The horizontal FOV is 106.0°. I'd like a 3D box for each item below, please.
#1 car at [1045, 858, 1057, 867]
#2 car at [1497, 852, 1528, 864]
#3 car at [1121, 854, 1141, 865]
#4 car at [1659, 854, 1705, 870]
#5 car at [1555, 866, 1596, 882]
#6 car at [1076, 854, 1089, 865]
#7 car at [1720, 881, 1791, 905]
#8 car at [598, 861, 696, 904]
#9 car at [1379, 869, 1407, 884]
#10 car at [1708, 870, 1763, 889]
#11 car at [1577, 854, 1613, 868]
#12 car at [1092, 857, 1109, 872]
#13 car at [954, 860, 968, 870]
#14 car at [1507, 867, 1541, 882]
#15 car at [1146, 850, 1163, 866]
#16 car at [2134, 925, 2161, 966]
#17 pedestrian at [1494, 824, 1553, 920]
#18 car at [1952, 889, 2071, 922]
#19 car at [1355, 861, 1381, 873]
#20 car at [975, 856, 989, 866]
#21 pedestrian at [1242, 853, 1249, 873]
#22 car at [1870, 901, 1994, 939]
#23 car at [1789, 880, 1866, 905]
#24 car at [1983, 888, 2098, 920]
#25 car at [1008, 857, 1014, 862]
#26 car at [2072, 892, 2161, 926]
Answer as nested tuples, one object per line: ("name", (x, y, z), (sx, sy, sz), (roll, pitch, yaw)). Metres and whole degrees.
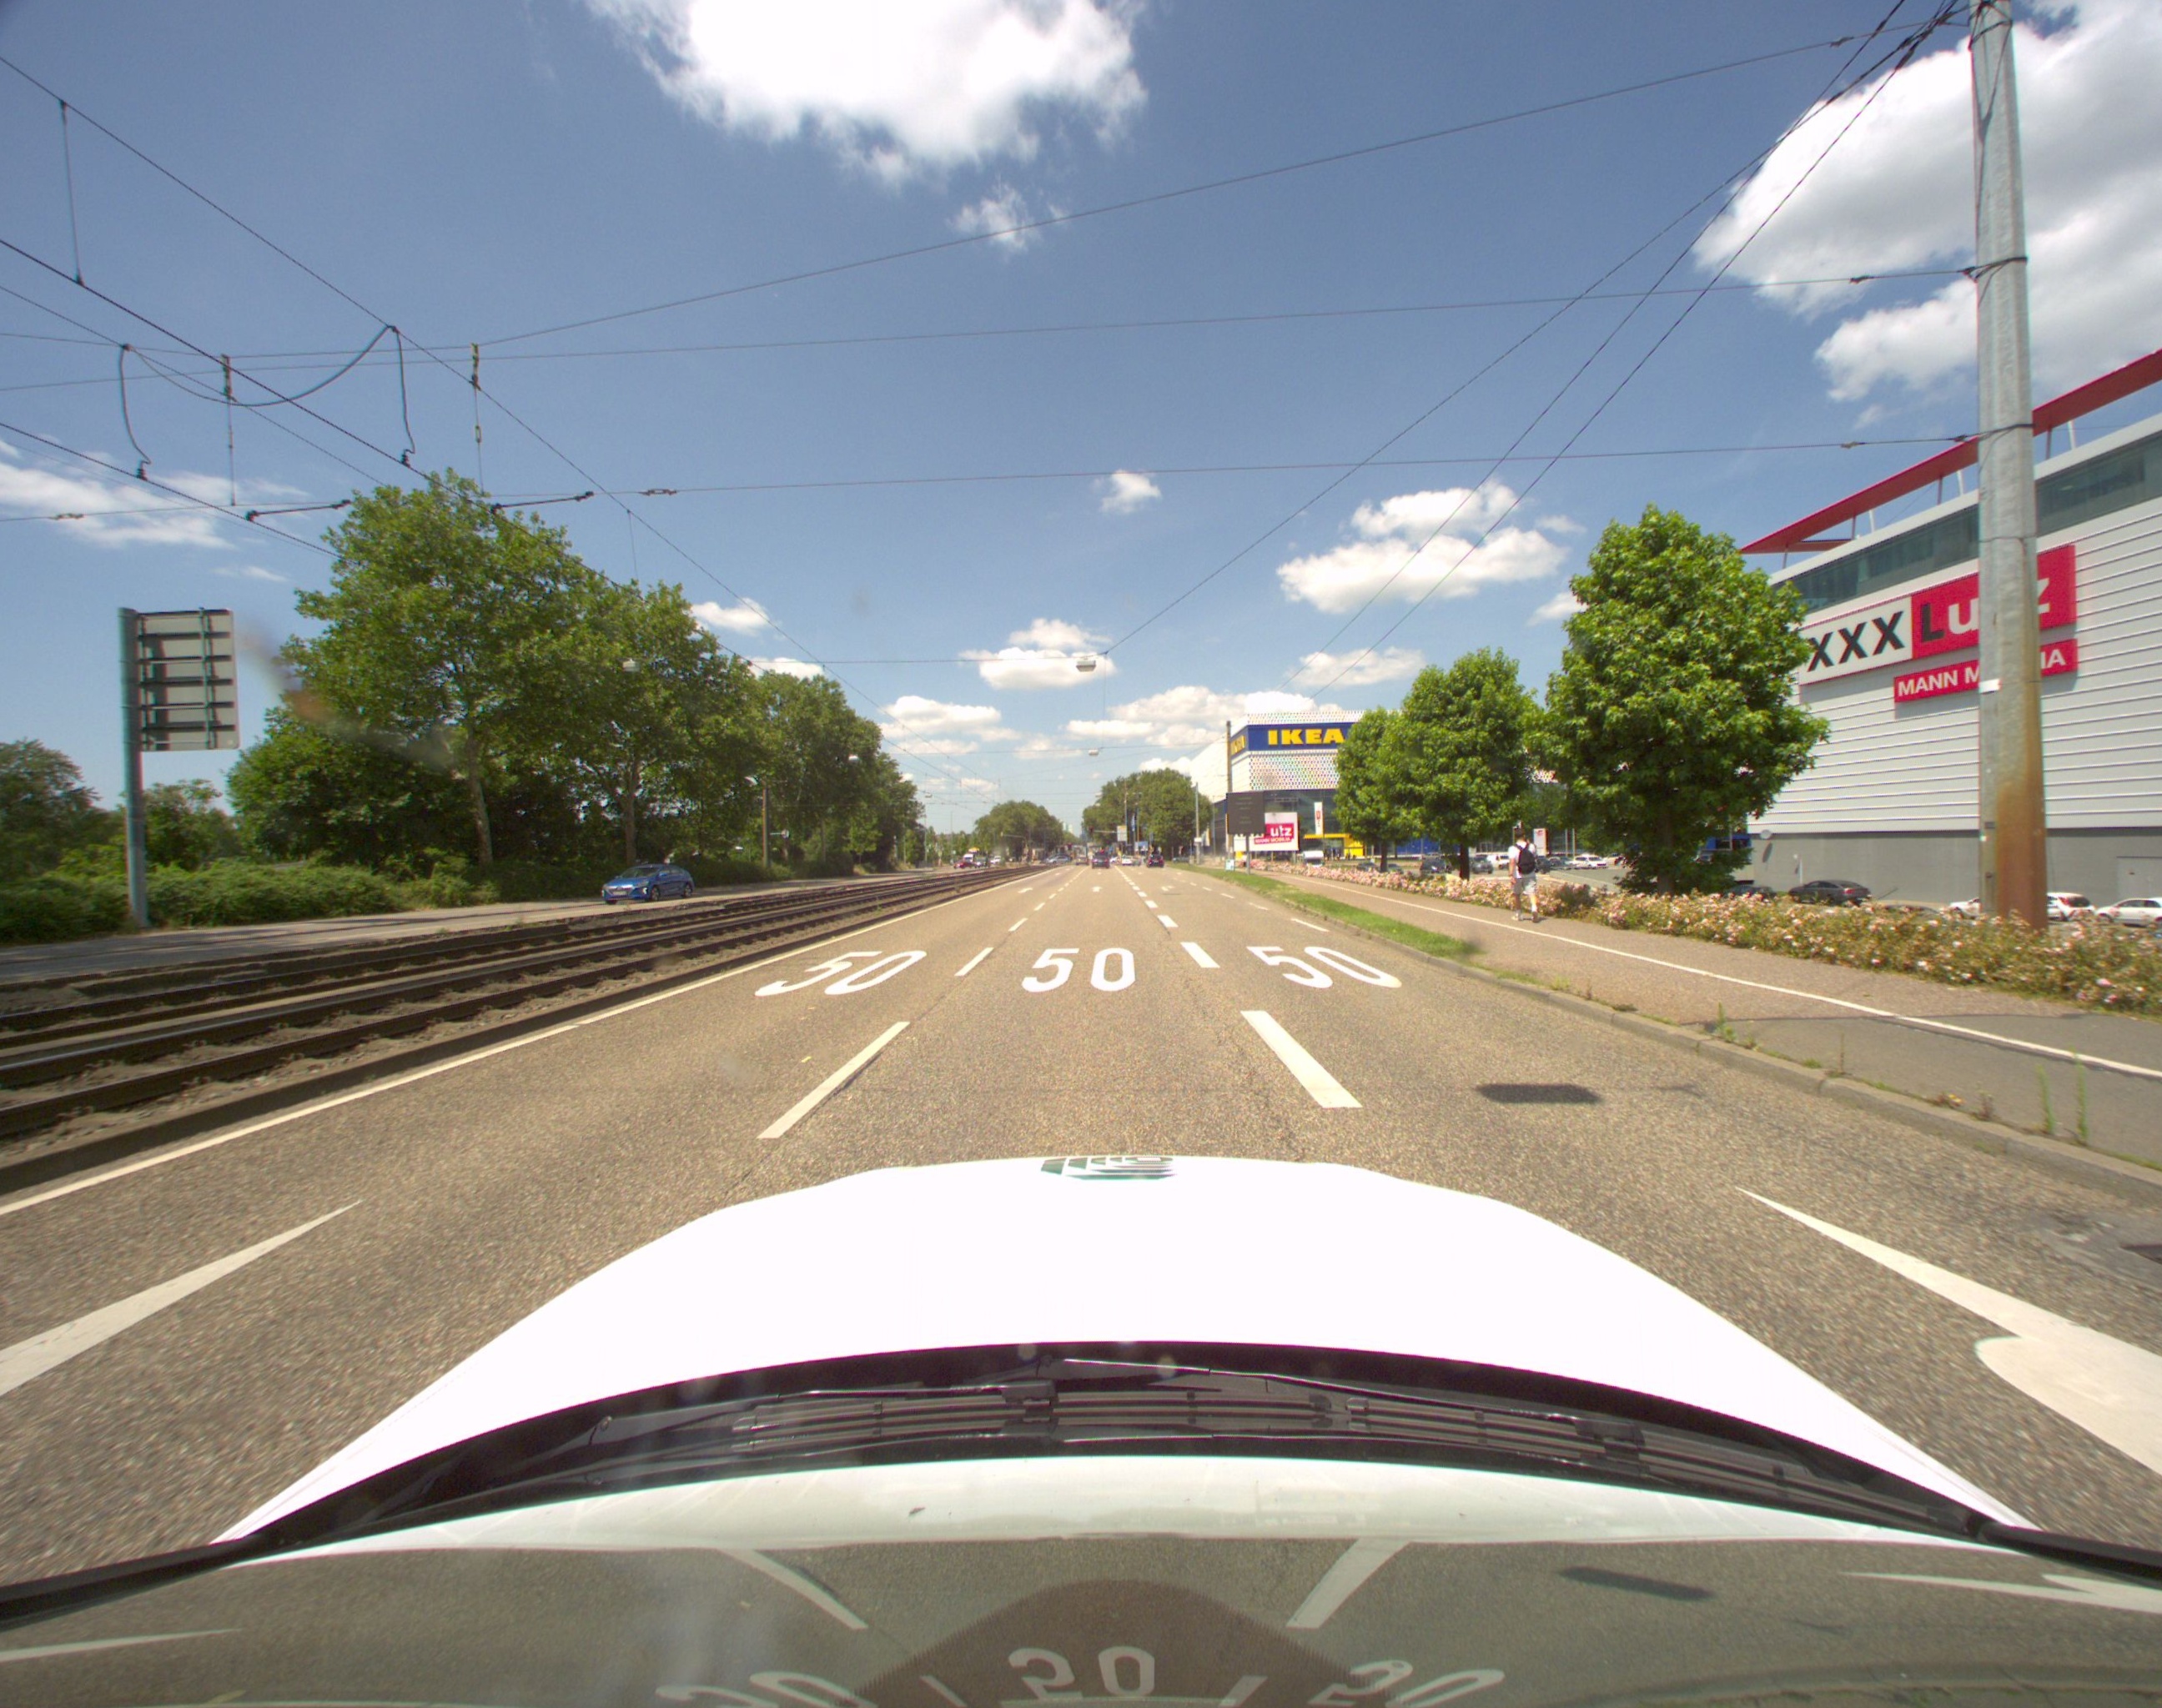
("car", (-5.140, 1.477, 140.597), (1.836, 1.549, 3.776), (0, 0, 0))
("car", (55.751, 0.521, 105.296), (1.734, 1.540, 3.997), (0, 0, -2))
("car", (7.535, 0.777, 122.210), (1.670, 1.549, 4.006), (0, 0, 23))
("car", (57.577, 0.751, 78.137), (1.566, 1.483, 3.887), (0, 0, 0))
("car", (47.739, 1.937, 78.669), (1.566, 1.483, 3.887), (0, 0, 0))
("car", (0.200, 0.828, 123.193), (1.836, 1.549, 3.776), (0, 0, 0))
("car", (46.413, 2.678, 56.138), (1.734, 1.483, 3.965), (0, 0, 2))
("car", (-16.944, 1.063, 32.026), (1.639, 1.550, 4.215), (0, 0, -1))
("car", (34.138, 2.429, 89.130), (1.566, 1.483, 3.887), (0, 0, 0))
("car", (62.238, 2.431, 77.559), (1.867, 1.644, 4.292), (0, 0, 1))
("car", (56.105, 0.764, 88.951), (1.566, 1.483, 3.887), (0, 0, 0))
("car", (2.134, 1.157, 90.044), (1.869, 1.539, 3.777), (0, 0, 1))
("car", (-19.830, 1.796, 134.441), (1.617, 1.549, 3.984), (0, 0, 1))
("car", (48.187, 2.218, 88.571), (1.566, 1.483, 3.887), (0, 0, 0))
("car", (8.802, 0.485, 97.576), (1.892, 1.805, 3.978), (0, 0, 2))
("car", (39.793, 3.333, 28.049), (1.581, 1.393, 4.236), (0, 0, -2))
("pedestrian", (8.482, 0.342, 15.646), (0.666, 1.792, 0.925), (0, 0, 3))
("car", (50.339, 2.762, 44.184), (1.734, 1.483, 4.241), (0, 0, 2))
("car", (36.707, 1.646, 104.227), (1.734, 1.540, 3.997), (0, 0, -2))
("car", (-15.259, 1.085, 125.373), (1.617, 1.549, 3.984), (0, 0, 1))
("pedestrian", (14.632, 0.809, 72.460), (0.578, 1.792, 0.589), (0, 0, -1))
("car", (40.503, 3.105, 38.915), (1.734, 1.483, 4.089), (0, 0, 2))
("car", (50.851, 2.590, 55.559), (1.734, 1.483, 3.965), (0, 0, 2))
("car", (52.820, 2.721, 44.950), (1.734, 1.483, 3.965), (0, 0, 2))
("car", (-19.896, 1.576, 231.457), (1.618, 1.549, 3.703), (0, 0, 0))
("car", (52.773, 2.717, 40.570), (1.734, 1.483, 4.241), (0, 0, 2))
